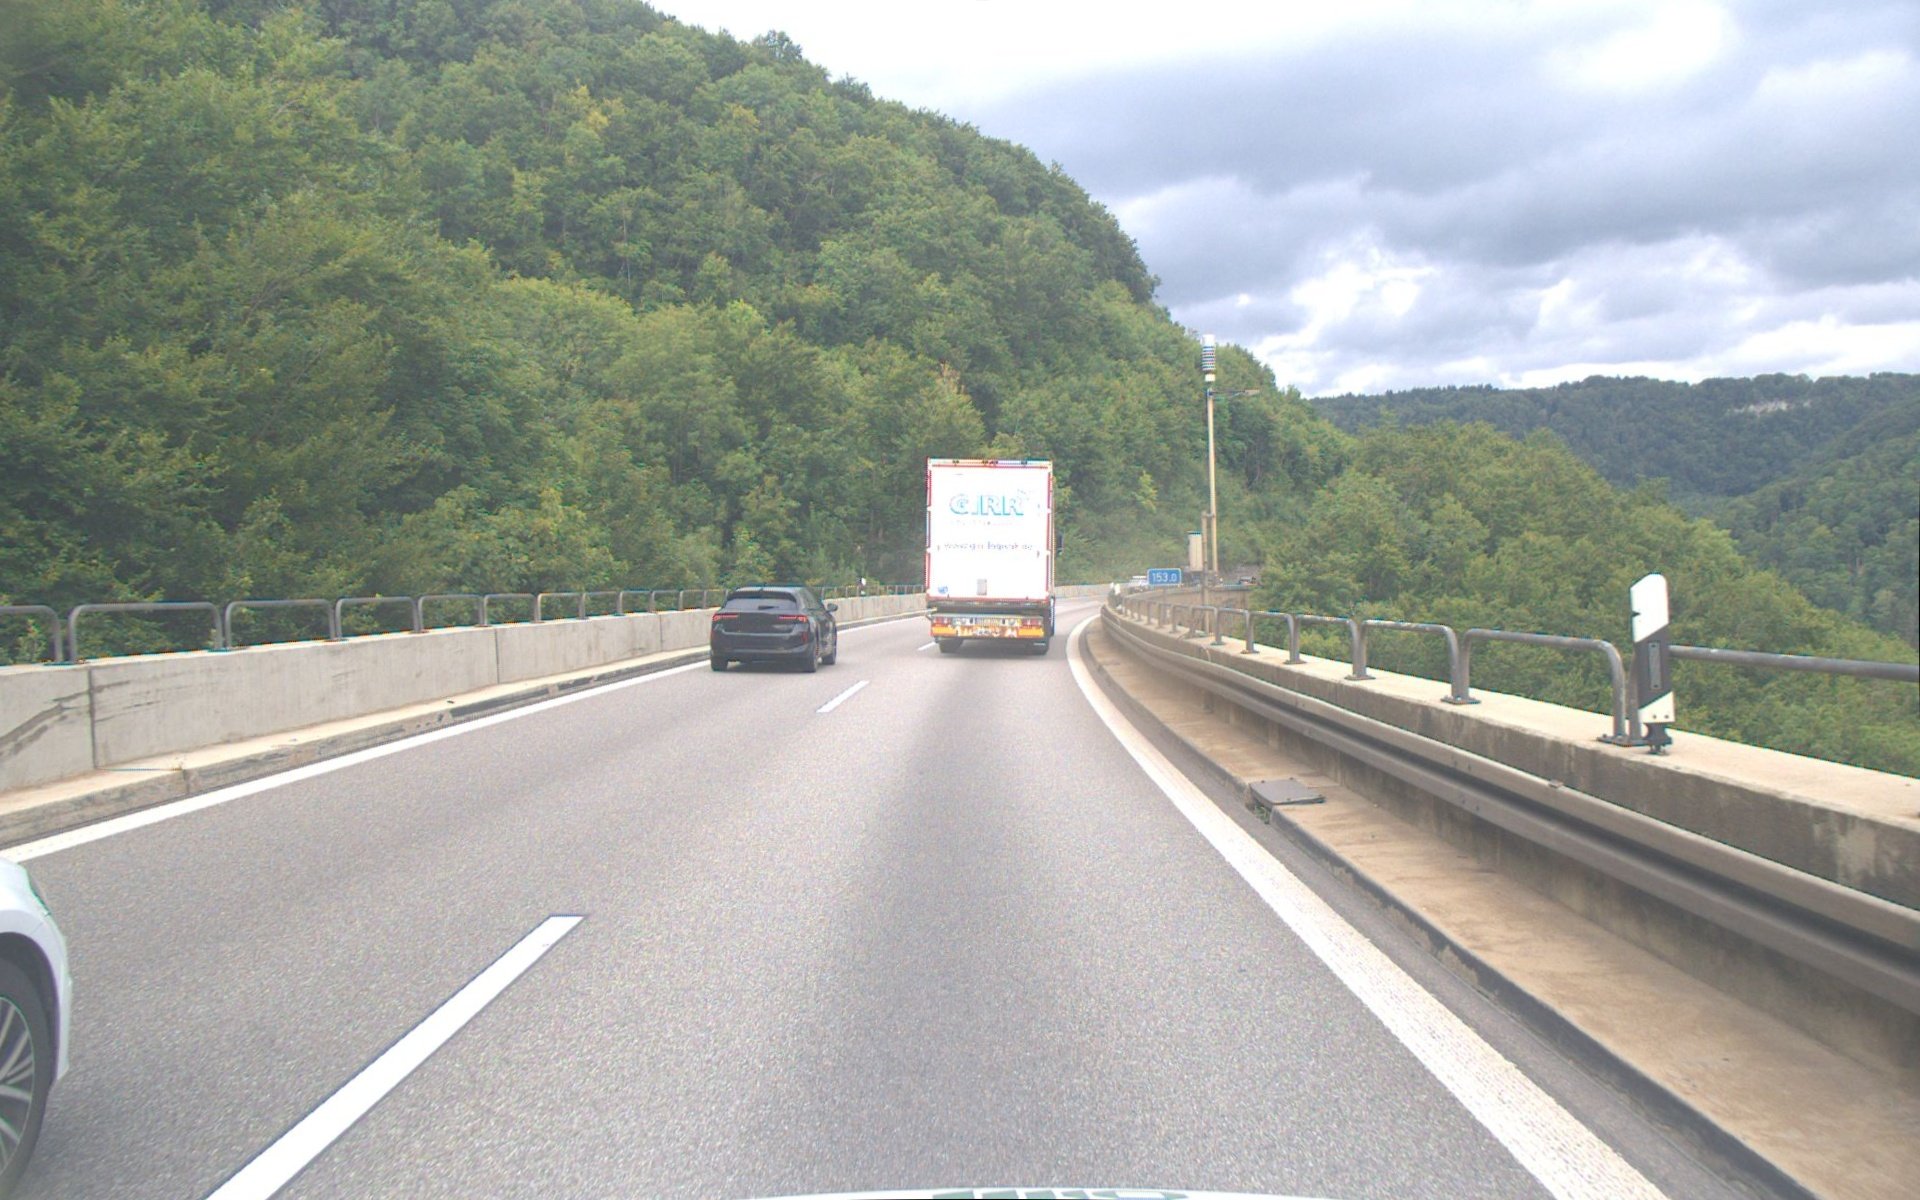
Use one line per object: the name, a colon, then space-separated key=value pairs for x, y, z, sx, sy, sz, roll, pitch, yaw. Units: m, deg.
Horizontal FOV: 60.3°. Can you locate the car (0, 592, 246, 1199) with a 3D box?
car: x=-3.034 y=0.706 z=2.585 sx=1.807 sy=1.508 sz=4.627 roll=1 pitch=-1 yaw=0

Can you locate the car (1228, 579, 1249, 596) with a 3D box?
car: x=31.594 y=-1.449 z=187.401 sx=1.951 sy=1.825 sz=4.002 roll=0 pitch=-1 yaw=16

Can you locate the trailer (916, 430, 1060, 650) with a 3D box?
trailer: x=0.916 y=-1.184 z=39.072 sx=2.754 sy=4.378 sz=12.250 roll=0 pitch=0 yaw=4

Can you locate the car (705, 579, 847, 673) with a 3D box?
car: x=-3.122 y=0.404 z=28.906 sx=1.736 sy=1.486 sz=4.583 roll=1 pitch=0 yaw=3

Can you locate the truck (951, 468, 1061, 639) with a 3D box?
truck: x=1.364 y=-1.182 z=45.595 sx=2.754 sy=4.378 sz=6.262 roll=0 pitch=0 yaw=4
